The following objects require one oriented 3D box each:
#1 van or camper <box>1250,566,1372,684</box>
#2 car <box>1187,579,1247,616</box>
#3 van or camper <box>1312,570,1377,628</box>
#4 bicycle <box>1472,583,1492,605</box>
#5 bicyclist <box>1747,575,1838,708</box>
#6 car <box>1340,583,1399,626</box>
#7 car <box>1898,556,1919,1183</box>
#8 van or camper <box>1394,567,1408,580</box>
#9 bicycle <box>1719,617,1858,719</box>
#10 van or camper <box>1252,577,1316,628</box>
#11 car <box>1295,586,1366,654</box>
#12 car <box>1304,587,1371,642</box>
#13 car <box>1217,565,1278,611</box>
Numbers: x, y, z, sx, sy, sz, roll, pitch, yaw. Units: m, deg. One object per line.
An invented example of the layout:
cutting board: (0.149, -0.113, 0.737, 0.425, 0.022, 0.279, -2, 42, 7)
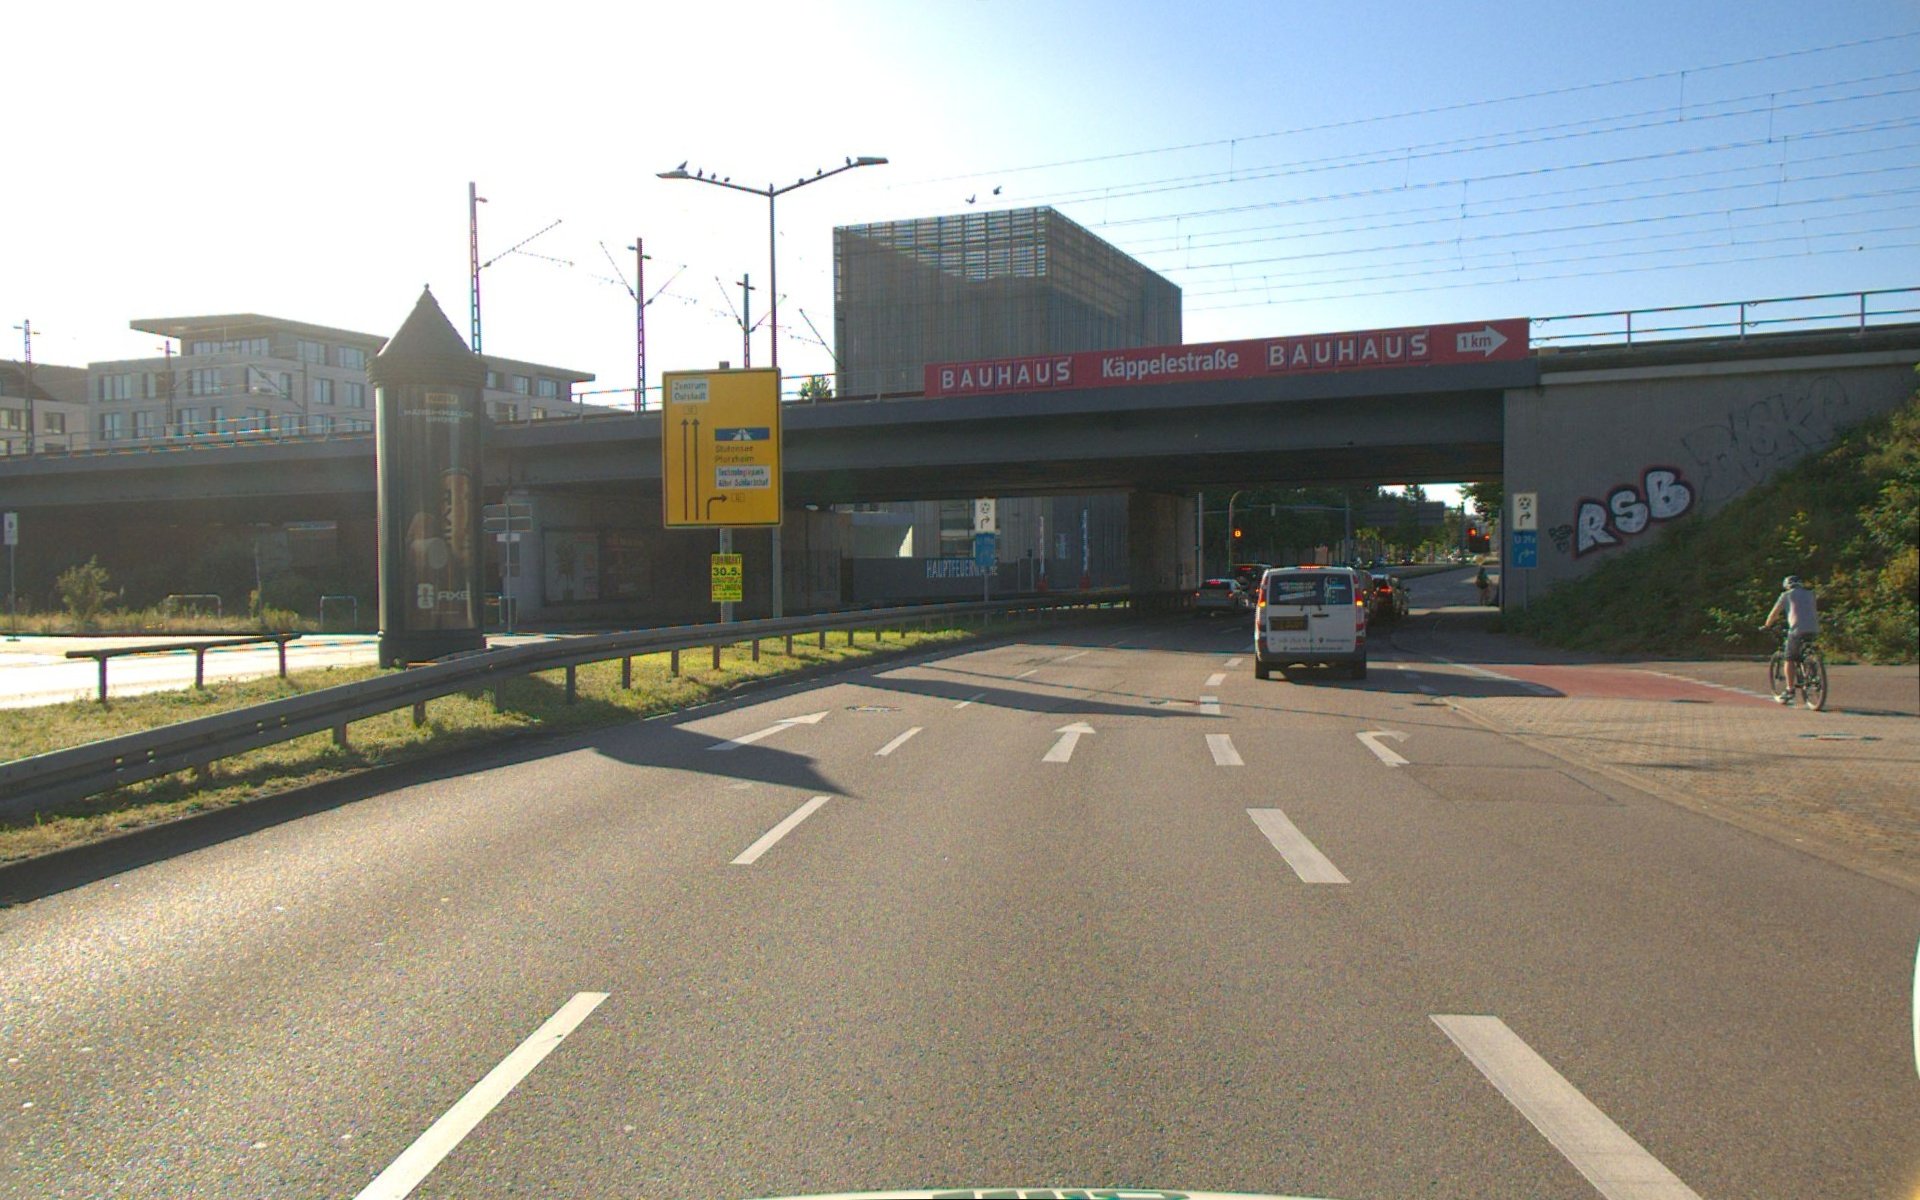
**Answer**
van or camper: (6.335, 0.390, 29.509, 1.917, 1.917, 4.884, -1, 0, 14)
car: (10.409, -0.117, 66.792, 1.673, 1.478, 3.743, 0, 1, 21)
van or camper: (12.816, -0.045, 55.015, 1.787, 1.822, 4.547, 1, 1, 17)
bicycle: (22.988, -0.268, 72.791, 0.756, 0.909, 1.997, -3, 0, 19)
bicyclist: (10.829, 0.527, 21.534, 0.730, 1.647, 0.913, -2, 1, 4)
car: (15.141, 0.141, 61.078, 1.673, 1.549, 3.743, 0, 1, 21)
car: (3.537, 0.706, 2.320, 1.875, 1.669, 4.409, 3, -1, -1)
van or camper: (66.297, -3.977, 248.589, 1.748, 1.896, 3.910, -3, 0, 18)
bicycle: (10.854, 0.856, 21.769, 0.727, 1.131, 2.453, -2, 2, 4)
van or camper: (12.080, 0.062, 61.502, 1.718, 1.845, 3.959, 0, 1, 21)
car: (8.861, 0.440, 39.485, 1.570, 1.459, 3.682, 1, 1, 13)
car: (10.816, 0.387, 47.220, 1.726, 1.501, 4.292, -1, 0, 15)
car: (12.871, -0.539, 73.889, 1.828, 1.981, 4.597, 0, 1, 21)
